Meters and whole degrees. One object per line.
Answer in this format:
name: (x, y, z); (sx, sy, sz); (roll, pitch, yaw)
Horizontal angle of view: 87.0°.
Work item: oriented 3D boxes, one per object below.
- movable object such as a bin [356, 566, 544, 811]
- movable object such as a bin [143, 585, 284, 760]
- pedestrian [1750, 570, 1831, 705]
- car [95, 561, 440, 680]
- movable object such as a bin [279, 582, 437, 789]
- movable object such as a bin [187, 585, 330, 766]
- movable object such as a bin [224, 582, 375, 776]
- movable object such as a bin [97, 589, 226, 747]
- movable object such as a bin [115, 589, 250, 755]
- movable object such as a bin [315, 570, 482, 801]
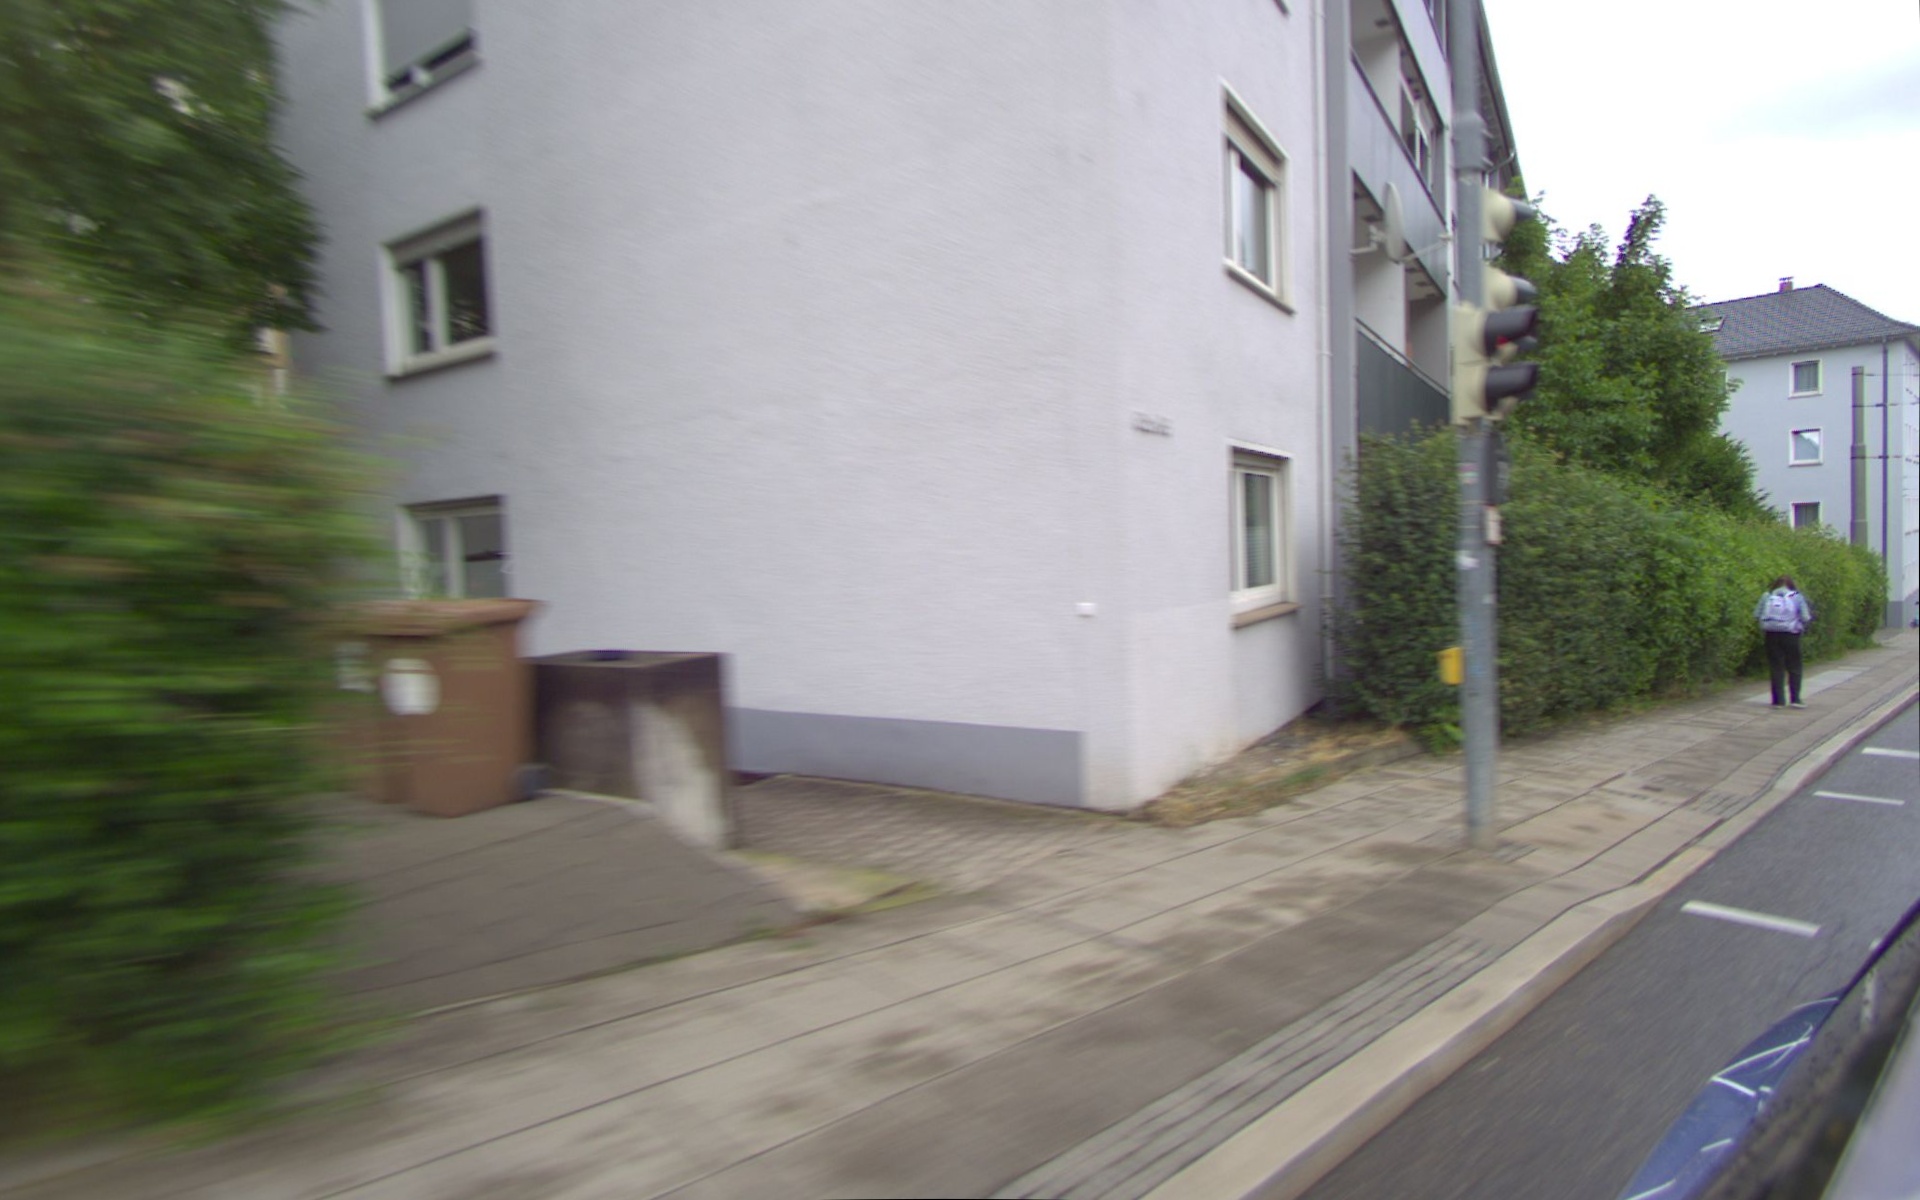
movable object such as a bin: (-2.623, 0.426, 5.230); (0.531, 1.155, 0.694); (-2, -2, 31)
movable object such as a bin: (-5.109, 0.469, 6.938); (0.513, 1.126, 0.635); (0, -1, 34)
pedestrian: (10.430, 0.446, 12.709); (0.618, 1.641, 0.658); (0, 0, -37)
car: (-10.169, 0.292, 15.145); (1.679, 1.531, 3.949); (-2, -1, 35)
movable object such as a bin: (-3.517, 0.468, 5.932); (0.513, 1.126, 0.635); (0, -1, 34)
movable object such as a bin: (-4.634, 0.468, 6.699); (0.513, 1.126, 0.635); (0, -1, 34)
movable object such as a bin: (-4.104, 0.459, 6.306); (0.513, 1.126, 0.635); (0, -1, 34)
movable object such as a bin: (-6.011, 0.482, 7.627); (0.513, 1.126, 0.635); (0, -1, 34)
movable object such as a bin: (-5.577, 0.487, 7.270); (0.513, 1.126, 0.635); (0, -1, 34)
movable object such as a bin: (-3.076, 0.435, 5.560); (0.513, 1.173, 0.635); (0, -1, 34)
